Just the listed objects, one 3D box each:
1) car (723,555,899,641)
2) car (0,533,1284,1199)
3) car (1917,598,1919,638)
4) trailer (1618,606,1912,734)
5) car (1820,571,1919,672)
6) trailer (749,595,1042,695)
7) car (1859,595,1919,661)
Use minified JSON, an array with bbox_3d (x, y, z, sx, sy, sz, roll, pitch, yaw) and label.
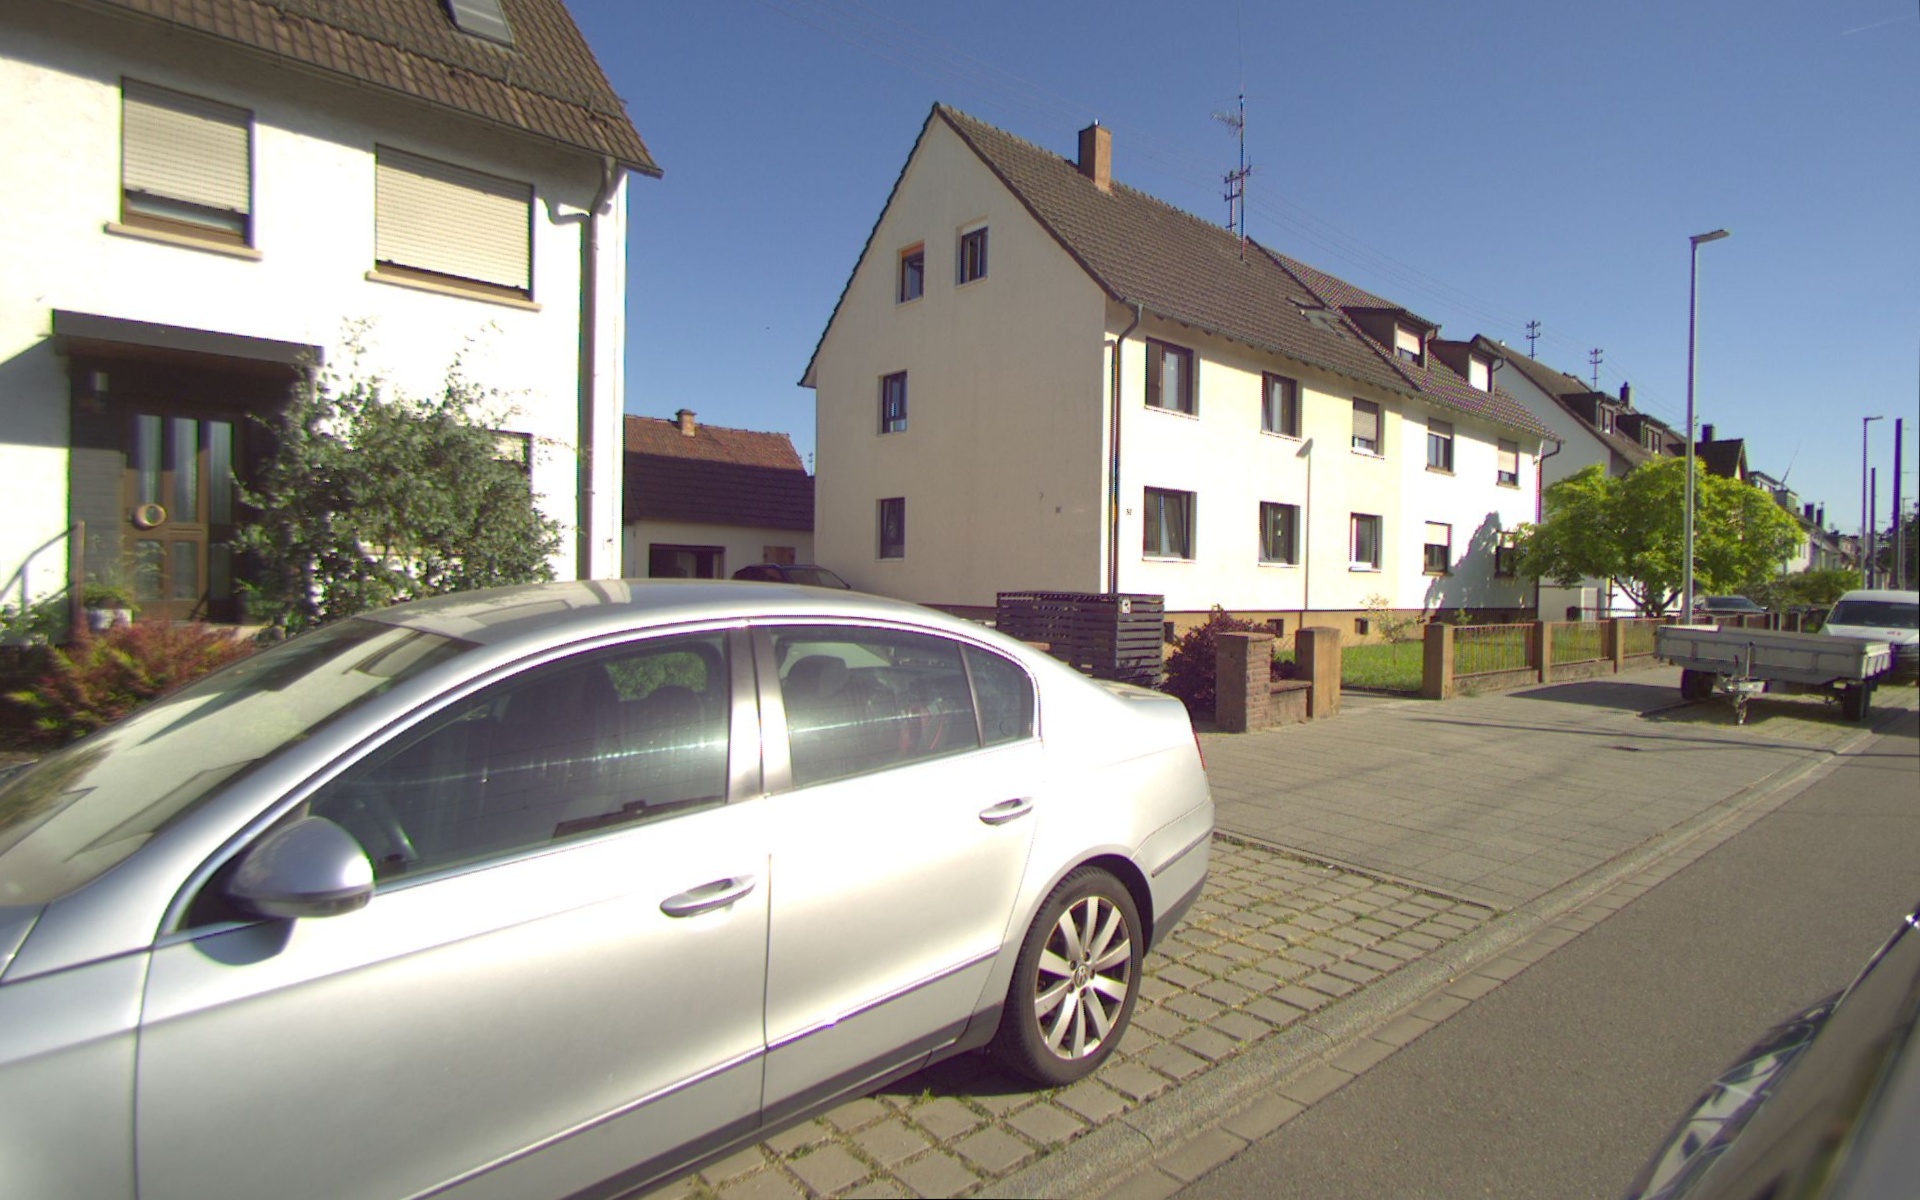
[{"bbox_3d":[-3.252,-0.091,21.501,1.874,1.660,3.995,0,1,-40],"label":"car"},{"bbox_3d":[-1.281,0.622,2.514,5.198,1.477,1.732,0,2,-44],"label":"car"},{"bbox_3d":[32.154,0.475,32.564,4.316,1.498,1.680,-1,4,-43],"label":"car"},{"bbox_3d":[11.105,0.757,13.712,6.330,1.144,2.275,0,4,-44],"label":"trailer"},{"bbox_3d":[18.834,0.375,20.355,4.508,1.784,1.794,0,4,-44],"label":"car"},{"bbox_3d":[-1.215,0.585,16.039,2.096,1.170,5.133,-1,2,-38],"label":"trailer"},{"bbox_3d":[23.358,0.637,24.521,4.365,1.488,1.826,0,2,-41],"label":"car"}]
